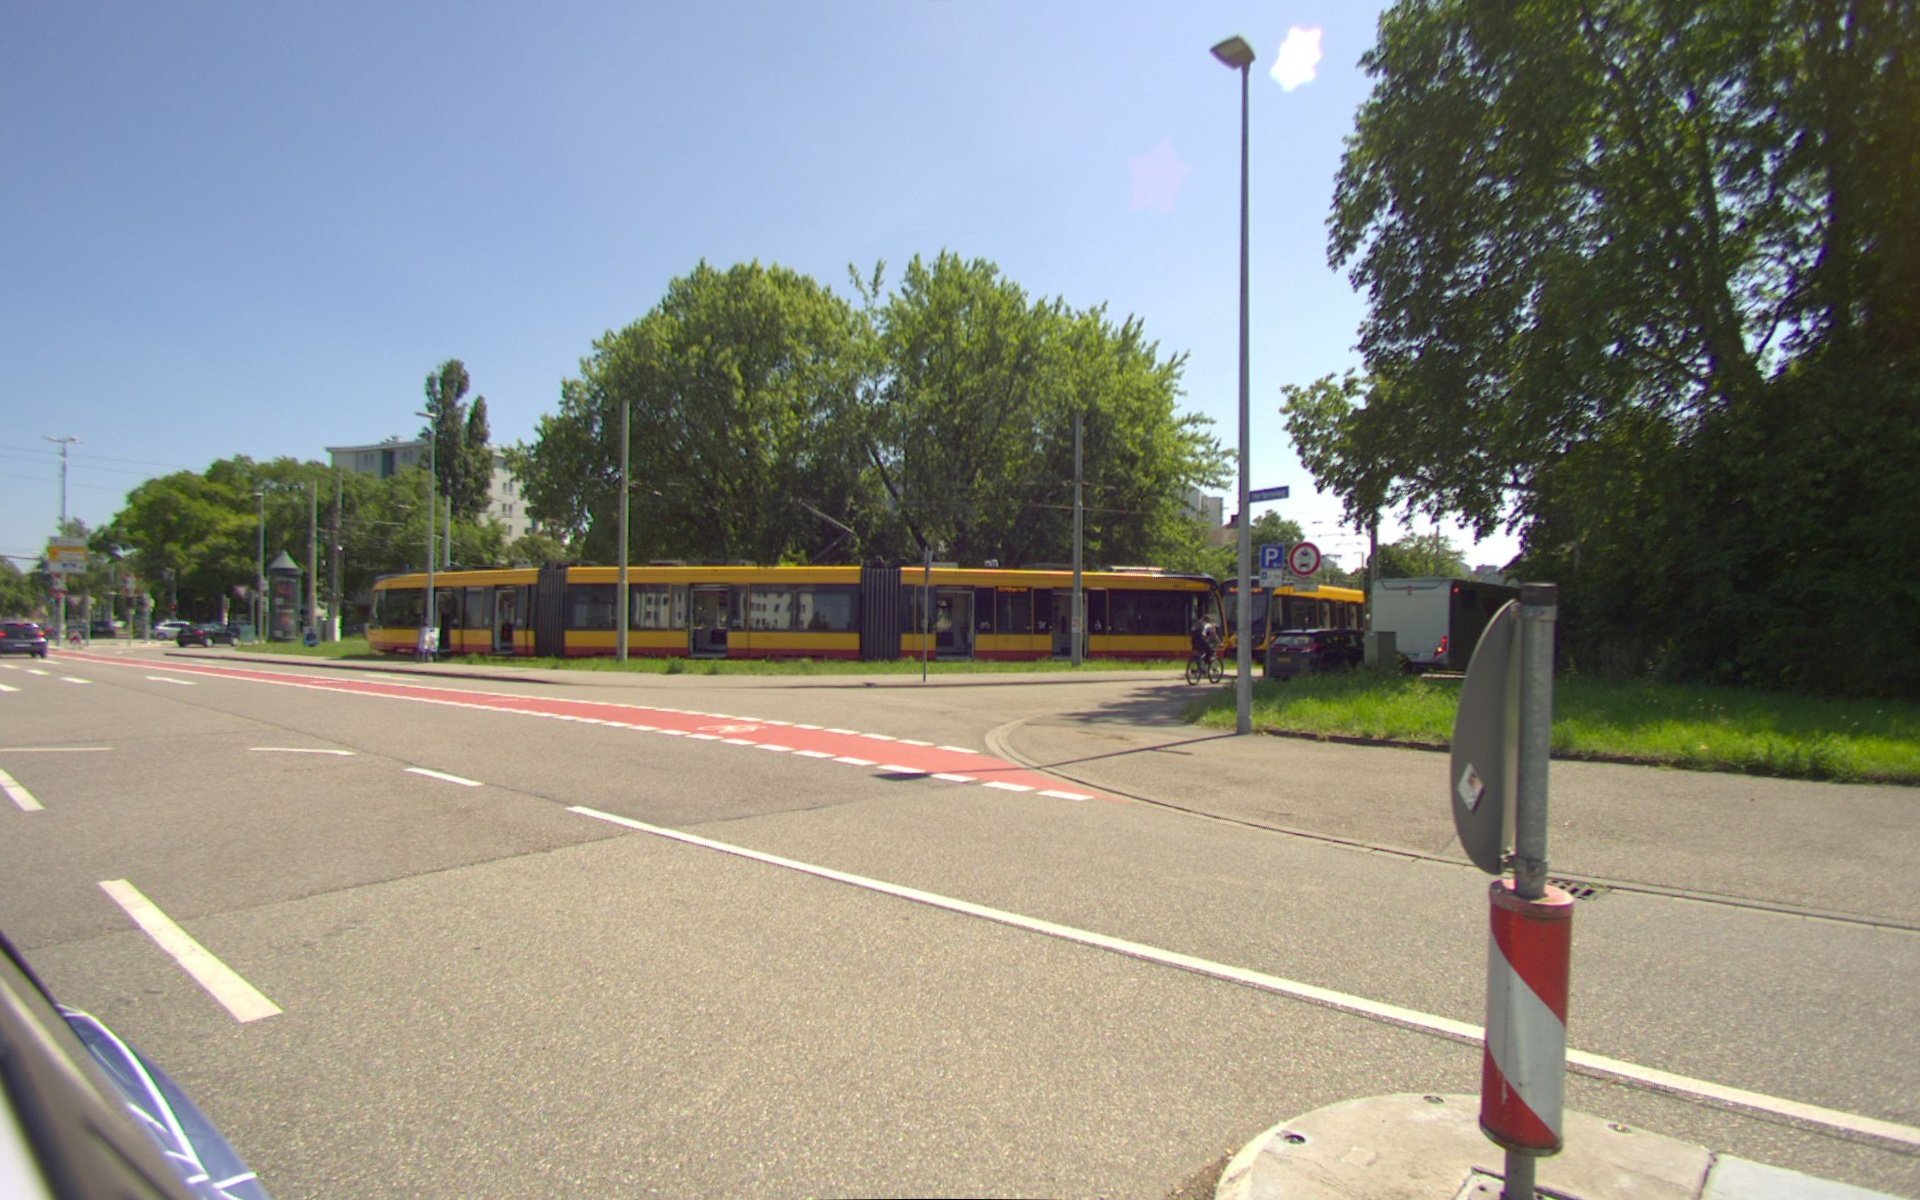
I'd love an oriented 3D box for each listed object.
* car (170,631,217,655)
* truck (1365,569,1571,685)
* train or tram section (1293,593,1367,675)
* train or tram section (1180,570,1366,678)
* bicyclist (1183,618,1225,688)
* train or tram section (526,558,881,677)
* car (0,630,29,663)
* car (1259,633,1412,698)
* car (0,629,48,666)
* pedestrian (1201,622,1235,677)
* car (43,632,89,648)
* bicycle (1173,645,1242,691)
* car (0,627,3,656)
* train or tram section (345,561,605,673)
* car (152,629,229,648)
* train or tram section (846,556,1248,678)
[{"bbox_3d":[-48.057,2.694,63.529,1.719,1.416,4.454,3,-3,-29],"label":"car"},{"bbox_3d":[14.665,0.826,28.965,7.225,2.932,2.572,3,-3,-39],"label":"truck"},{"bbox_3d":[19.513,1.979,54.127,3.000,3.788,14.110,-1,-3,17],"label":"train or tram section"},{"bbox_3d":[13.496,1.236,42.261,3.020,3.788,14.019,-2,-4,36],"label":"train or tram section"},{"bbox_3d":[6.154,1.330,25.539,0.757,1.719,0.668,0,-2,-43],"label":"bicyclist"},{"bbox_3d":[-8.645,0.645,34.589,11.485,3.788,3.017,0,-3,9],"label":"train or tram section"},{"bbox_3d":[-44.350,2.125,46.535,4.282,1.468,1.742,-2,-3,40],"label":"car"},{"bbox_3d":[9.269,1.549,24.807,4.245,1.428,1.669,2,-2,-41],"label":"car"},{"bbox_3d":[-38.162,1.899,40.781,3.499,1.467,1.605,-2,-4,41],"label":"car"},{"bbox_3d":[8.150,1.553,31.945,0.850,1.723,0.802,-2,-2,26],"label":"pedestrian"},{"bbox_3d":[-91.472,4.098,103.601,3.440,1.439,1.585,1,-4,-44],"label":"car"},{"bbox_3d":[6.296,1.712,25.650,2.014,1.063,0.672,0,-2,-43],"label":"bicycle"},{"bbox_3d":[-51.323,2.162,52.681,4.411,1.467,1.772,-2,-3,42],"label":"car"},{"bbox_3d":[-19.016,0.811,39.049,12.962,3.788,2.990,-2,-4,35],"label":"train or tram section"},{"bbox_3d":[-59.386,2.997,78.199,4.336,1.399,1.881,1,-3,-18],"label":"car"},{"bbox_3d":[3.149,0.759,35.393,13.808,3.788,3.035,1,-3,-17],"label":"train or tram section"}]
